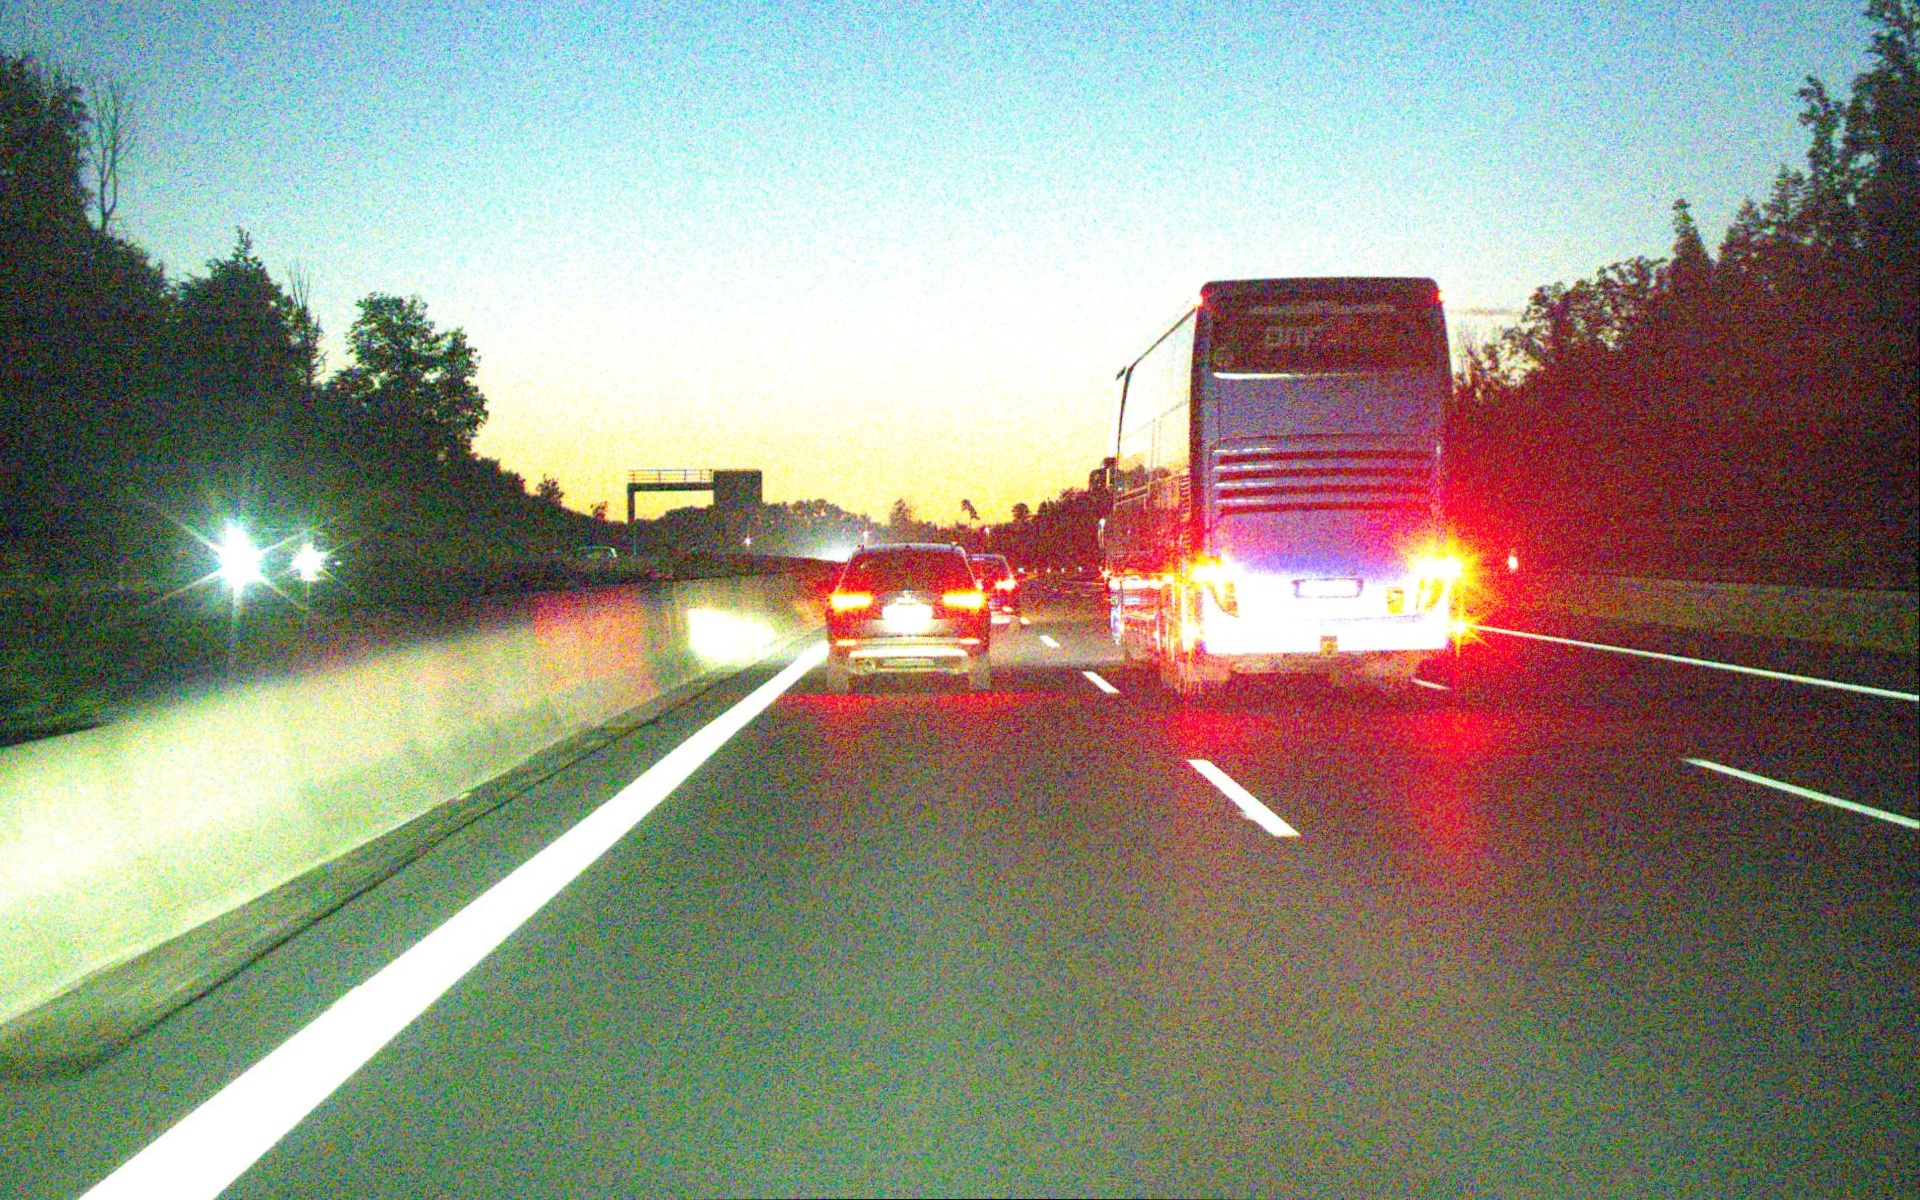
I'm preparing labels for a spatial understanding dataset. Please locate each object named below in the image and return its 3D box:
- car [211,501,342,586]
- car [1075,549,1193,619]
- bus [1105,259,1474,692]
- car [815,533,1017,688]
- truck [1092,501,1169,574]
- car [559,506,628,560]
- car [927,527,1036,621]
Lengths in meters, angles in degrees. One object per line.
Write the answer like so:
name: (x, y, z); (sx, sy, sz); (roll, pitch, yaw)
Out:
car: (-15.233, -1.283, 76.881); (1.992, 1.770, 5.171); (2, 1, -2)
car: (3.311, -0.301, 66.151); (1.911, 1.270, 4.000); (-1, 0, -2)
bus: (3.366, -1.182, 39.194); (2.652, 3.980, 14.702); (-1, 0, 0)
car: (-0.508, 0.104, 38.003); (2.105, 1.612, 4.204); (0, 0, -1)
truck: (6.843, -2.490, 138.896); (2.602, 2.865, 7.486); (1, 0, -1)
car: (-12.828, -2.367, 120.480); (1.992, 1.770, 4.749); (2, 1, -2)
car: (0.387, -0.483, 65.959); (1.911, 1.724, 4.000); (-1, 0, -2)
